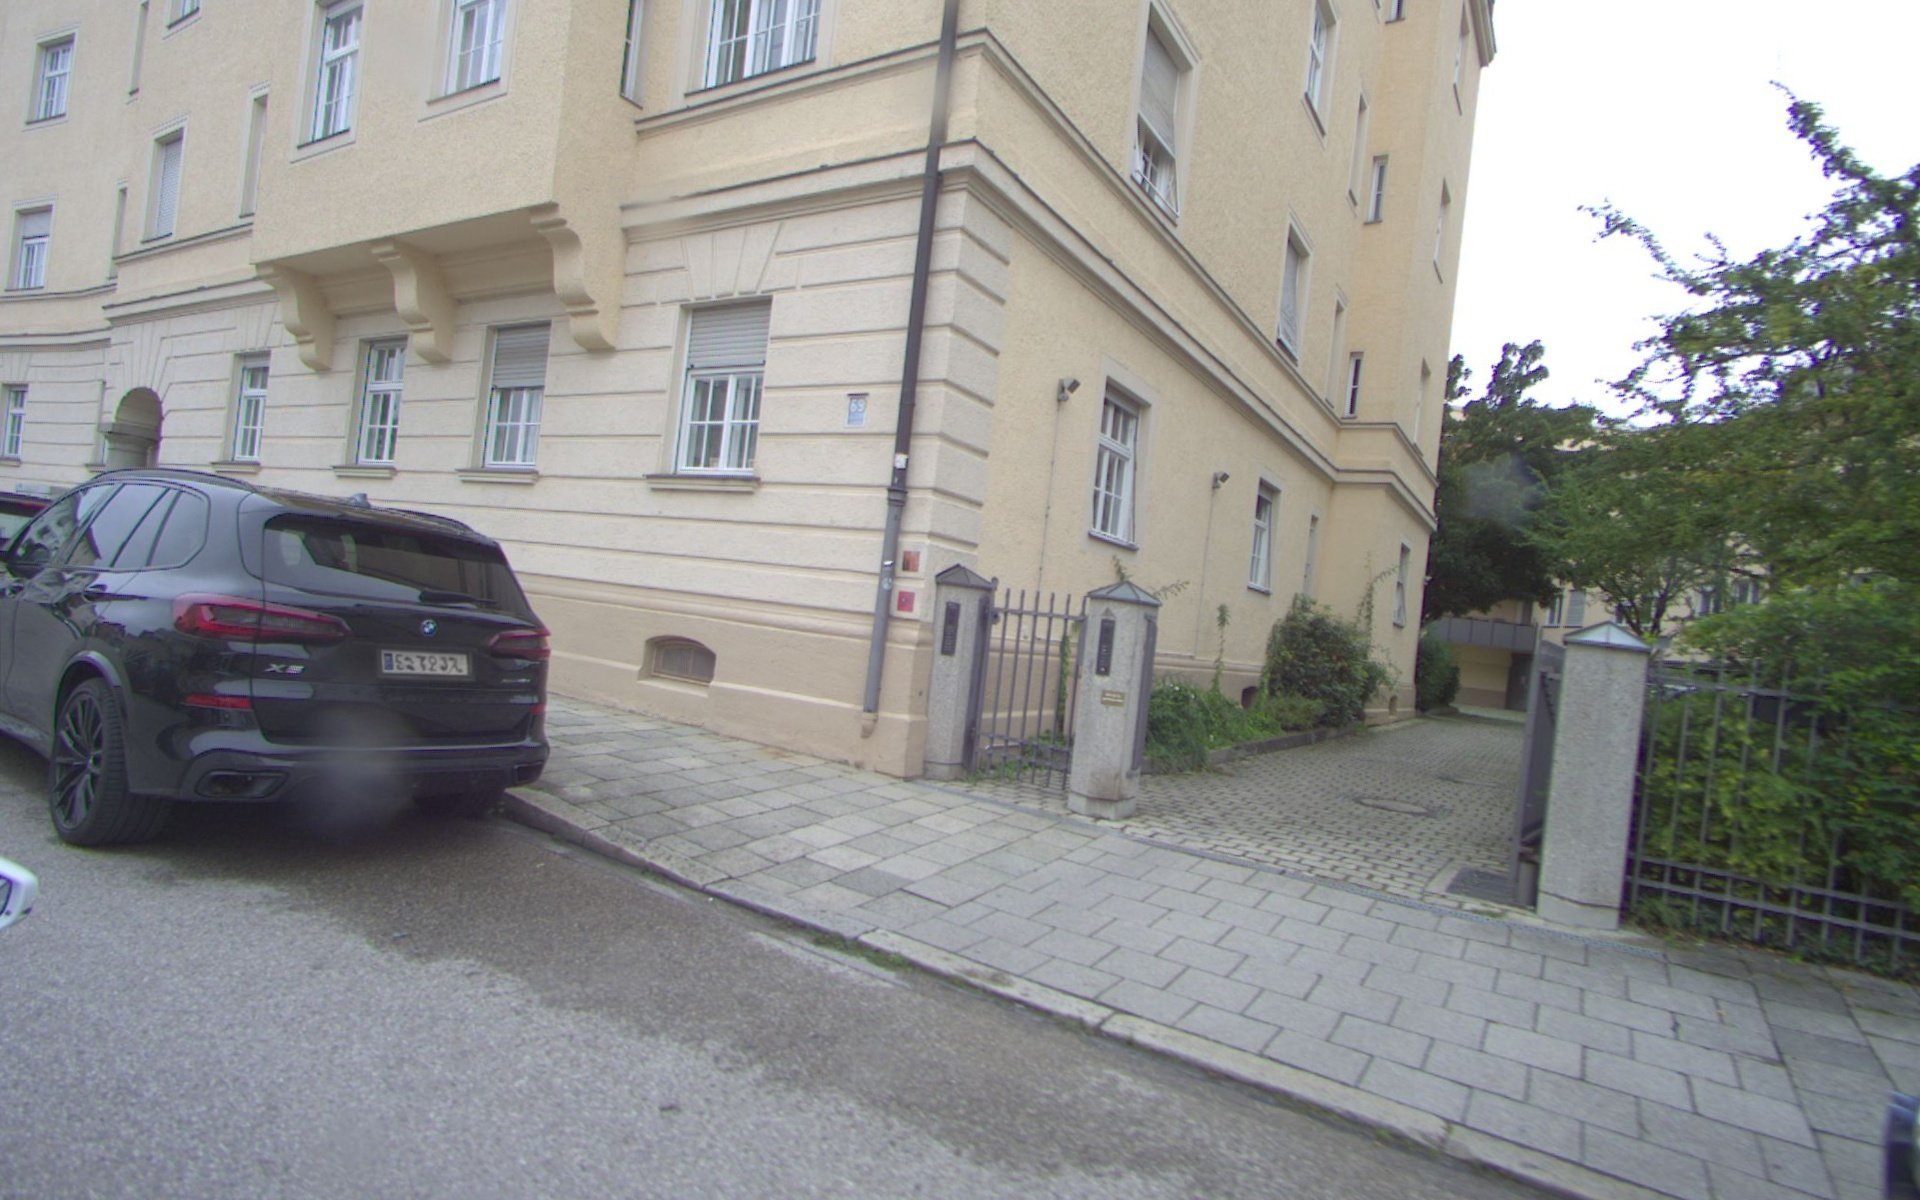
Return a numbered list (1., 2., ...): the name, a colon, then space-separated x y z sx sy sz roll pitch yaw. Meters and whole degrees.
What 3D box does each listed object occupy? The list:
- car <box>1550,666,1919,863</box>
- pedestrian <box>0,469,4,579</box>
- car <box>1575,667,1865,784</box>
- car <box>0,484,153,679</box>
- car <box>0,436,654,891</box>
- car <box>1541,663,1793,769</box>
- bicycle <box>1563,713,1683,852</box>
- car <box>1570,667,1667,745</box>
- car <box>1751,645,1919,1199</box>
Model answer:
1. car: 8.487 1.672 10.458 3.934 1.474 1.861 5 -2 32
2. pedestrian: -15.561 -1.236 15.758 0.904 1.713 0.617 6 3 33
3. car: 14.122 2.300 18.839 3.930 1.537 1.999 7 -1 -6
4. car: -9.027 -0.285 9.288 2.970 1.573 1.516 7 -1 34
5. car: -4.485 0.124 6.181 4.942 1.759 2.173 7 -2 33
6. car: 14.971 2.429 21.434 3.930 1.603 1.999 8 -1 -6
7. bicycle: 6.097 1.630 9.228 0.724 1.074 1.171 7 0 39
8. car: 18.364 2.973 28.218 1.967 1.747 4.354 7 -2 32
9. car: 3.658 1.135 0.818 4.423 1.683 1.849 6 -1 32
